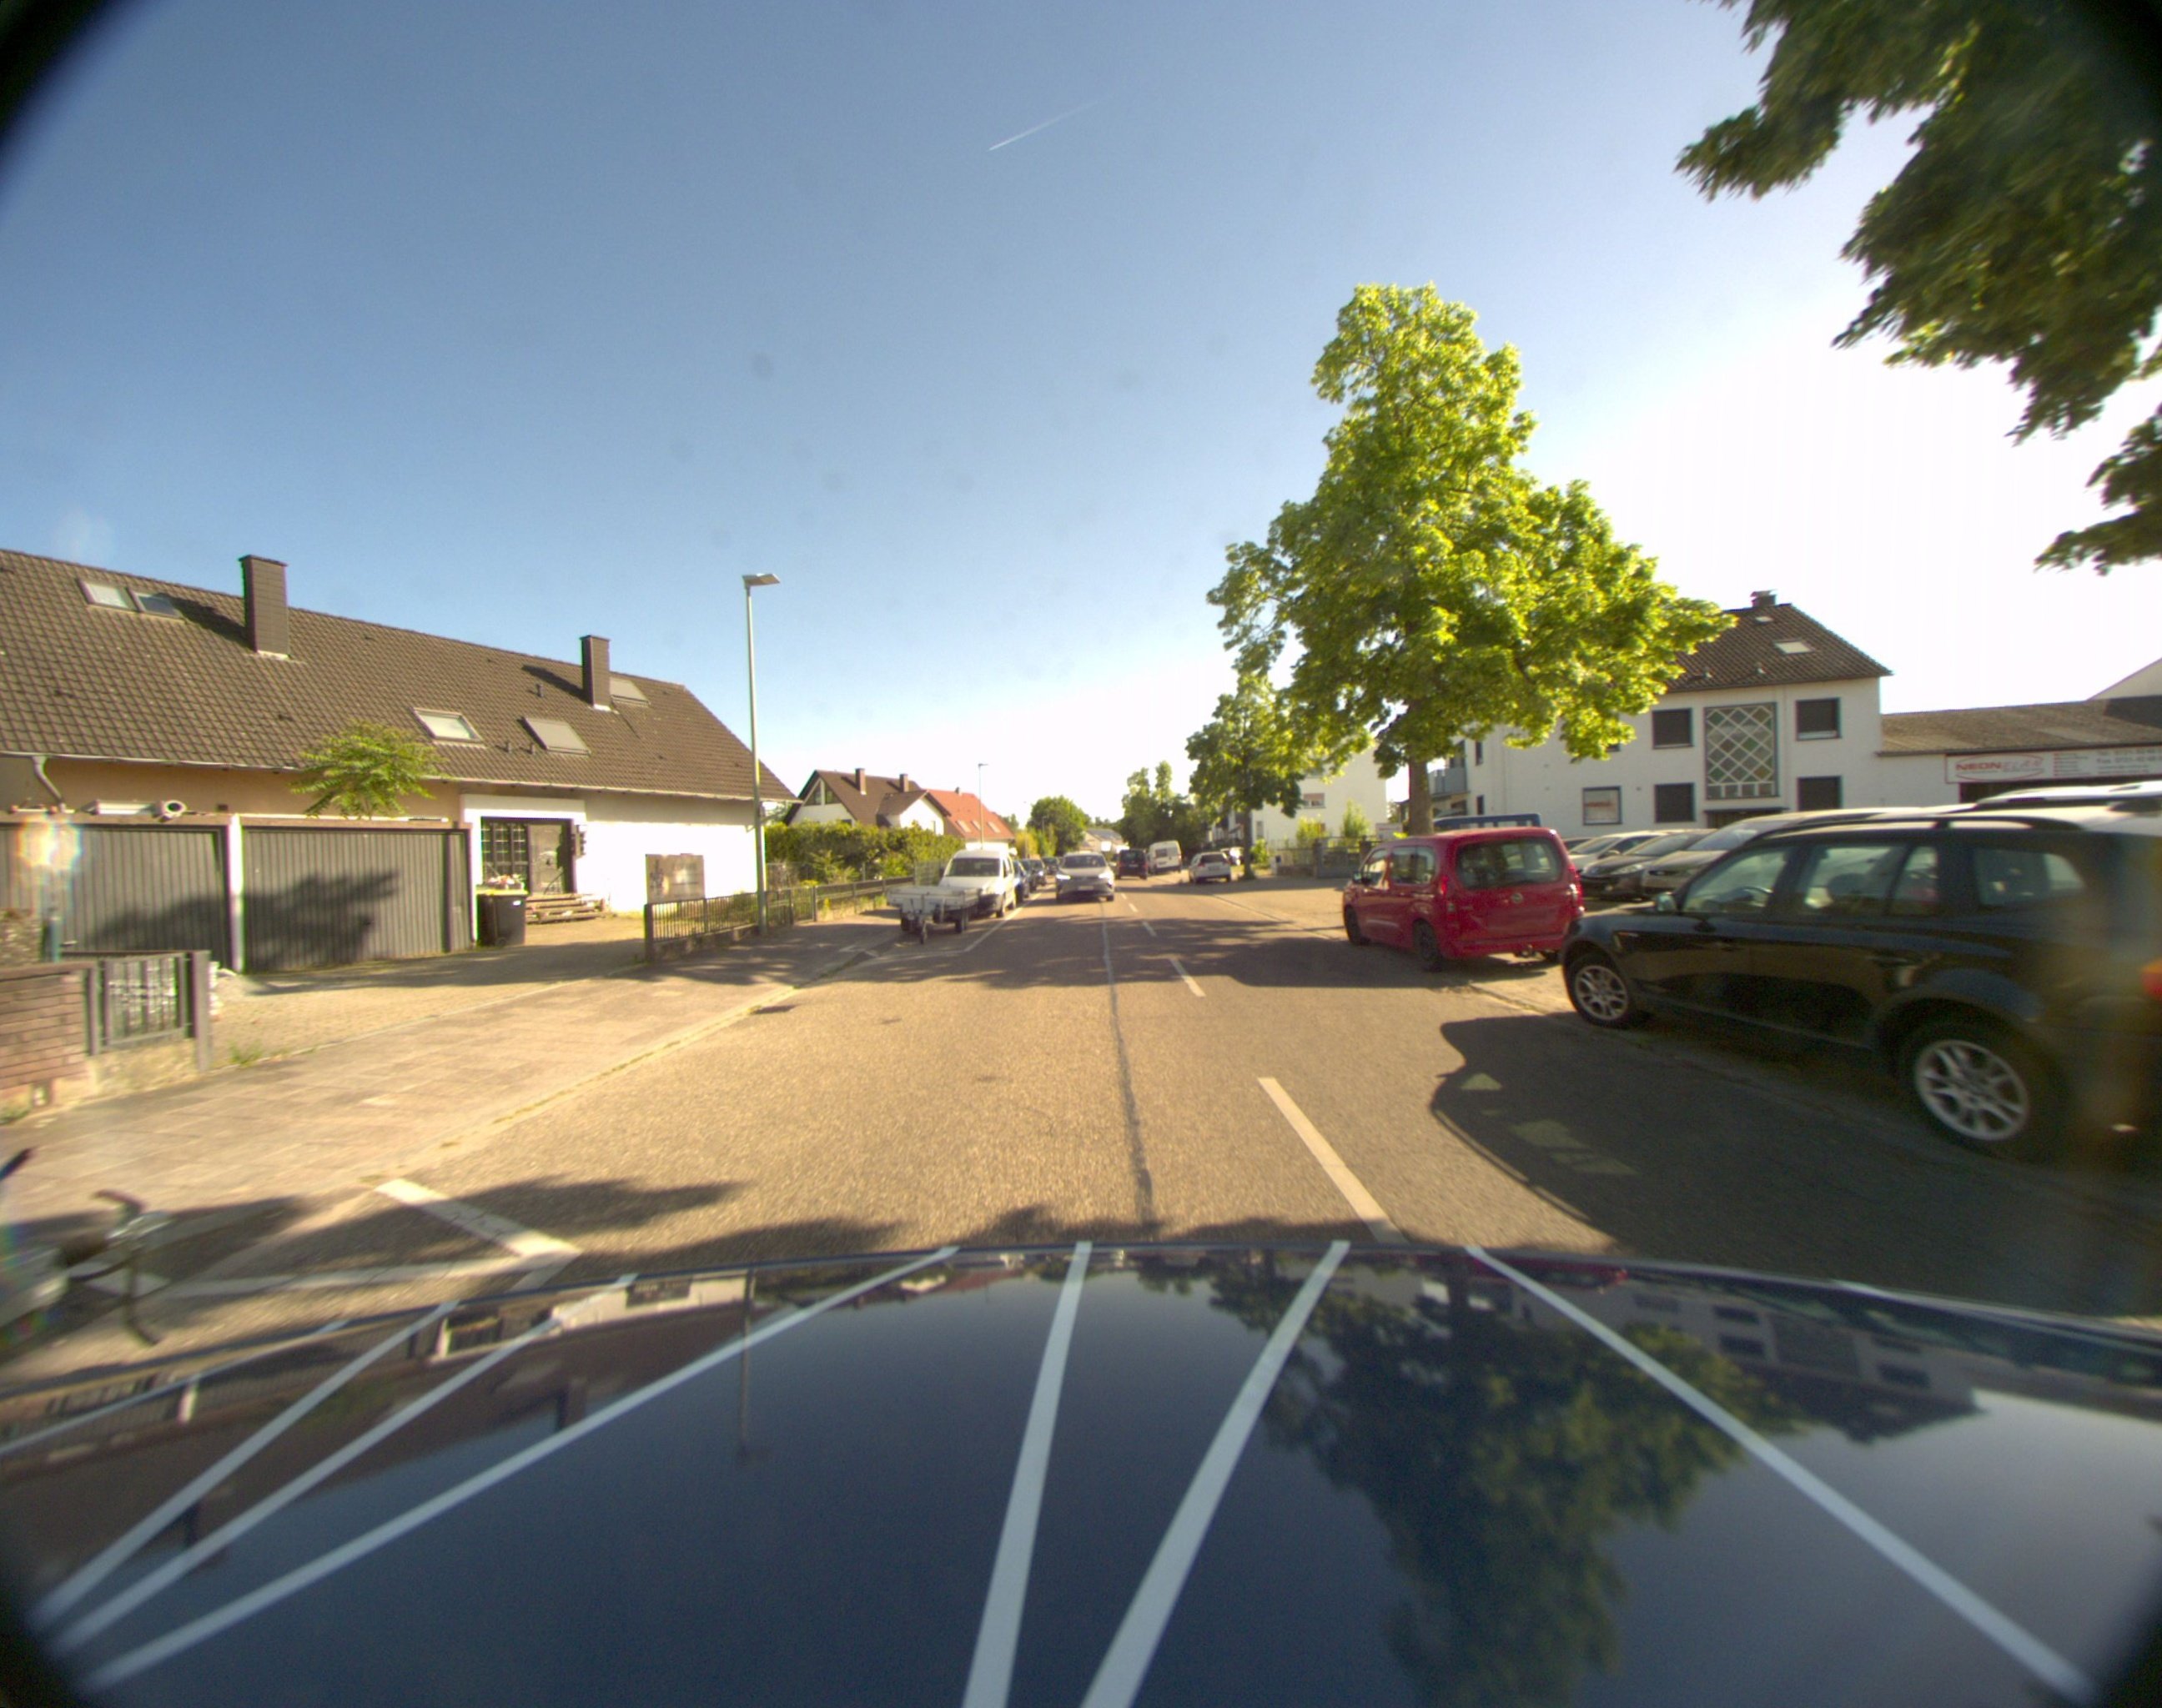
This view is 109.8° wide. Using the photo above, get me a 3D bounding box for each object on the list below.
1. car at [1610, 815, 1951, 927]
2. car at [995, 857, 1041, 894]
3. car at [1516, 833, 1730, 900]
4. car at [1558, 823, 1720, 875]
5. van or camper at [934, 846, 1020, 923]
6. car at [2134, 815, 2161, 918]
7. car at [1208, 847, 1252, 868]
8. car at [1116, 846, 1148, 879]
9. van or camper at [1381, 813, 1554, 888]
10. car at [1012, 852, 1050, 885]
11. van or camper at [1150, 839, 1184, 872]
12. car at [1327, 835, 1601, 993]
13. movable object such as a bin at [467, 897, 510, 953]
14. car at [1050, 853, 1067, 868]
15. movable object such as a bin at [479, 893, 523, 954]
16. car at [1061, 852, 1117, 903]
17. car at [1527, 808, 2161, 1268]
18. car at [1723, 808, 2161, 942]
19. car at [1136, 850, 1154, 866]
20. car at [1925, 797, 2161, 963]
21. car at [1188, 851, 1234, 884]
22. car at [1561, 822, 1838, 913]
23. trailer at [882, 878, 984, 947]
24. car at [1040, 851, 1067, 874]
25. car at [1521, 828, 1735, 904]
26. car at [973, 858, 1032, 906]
[{"bbox_3d":[12.178,0.283,13.481,4.258,1.742,1.766,-2,1,4],"label":"car"},{"bbox_3d":[-2.790,0.915,34.467,1.723,1.496,3.906,-2,0,0],"label":"car"},{"bbox_3d":[14.202,0.327,20.138,4.257,1.533,1.766,-2,1,7],"label":"car"},{"bbox_3d":[18.294,-0.182,25.096,3.988,1.570,1.680,-1,2,14],"label":"car"},{"bbox_3d":[-2.789,0.754,21.274,1.723,1.880,4.179,-2,0,0],"label":"van or camper"},{"bbox_3d":[16.336,0.172,9.276,1.667,1.508,4.002,-2,0,7],"label":"car"},{"bbox_3d":[12.528,0.287,63.630,1.610,1.505,4.396,-2,0,41],"label":"car"},{"bbox_3d":[3.254,0.511,49.205,1.899,2.019,4.818,0,0,1],"label":"car"},{"bbox_3d":[13.152,-0.110,26.244,4.899,2.307,2.246,-2,1,15],"label":"van or camper"},{"bbox_3d":[-2.655,0.744,41.308,1.780,1.649,3.816,-2,0,-1],"label":"car"},{"bbox_3d":[6.747,0.131,60.062,2.128,2.475,5.556,-2,-1,1],"label":"van or camper"},{"bbox_3d":[5.199,0.690,11.086,1.808,1.742,4.342,-4,0,1],"label":"car"},{"bbox_3d":[-11.362,1.346,14.570,0.503,1.020,0.459,-2,1,29],"label":"movable object such as a bin"},{"bbox_3d":[-2.493,0.680,83.264,1.661,1.591,3.815,-2,0,-2],"label":"car"},{"bbox_3d":[-10.912,1.294,14.297,0.503,1.090,0.459,-2,1,29],"label":"movable object such as a bin"},{"bbox_3d":[0.261,0.769,26.614,1.777,1.624,3.704,-1,0,0],"label":"car"},{"bbox_3d":[5.066,0.689,4.877,1.678,1.761,4.555,-4,0,1],"label":"car"},{"bbox_3d":[12.354,0.295,11.110,4.257,1.718,1.766,-2,1,7],"label":"car"},{"bbox_3d":[6.662,0.412,79.824,1.696,1.557,3.907,-5,0,4],"label":"car"},{"bbox_3d":[12.848,0.213,8.722,4.259,1.718,1.766,-2,1,2],"label":"car"},{"bbox_3d":[6.401,0.623,37.843,1.691,1.427,4.209,-4,0,3],"label":"car"},{"bbox_3d":[12.629,0.265,15.711,4.259,1.576,1.766,-3,0,0],"label":"car"},{"bbox_3d":[-3.113,1.196,16.483,1.631,1.210,3.144,-2,0,-2],"label":"trailer"},{"bbox_3d":[-2.144,0.641,60.631,1.780,1.649,4.304,-2,0,2],"label":"car"},{"bbox_3d":[12.606,0.273,17.668,3.814,1.533,1.548,-2,1,1],"label":"car"},{"bbox_3d":[-2.760,0.956,27.272,1.723,1.496,3.563,-2,0,-1],"label":"car"}]
